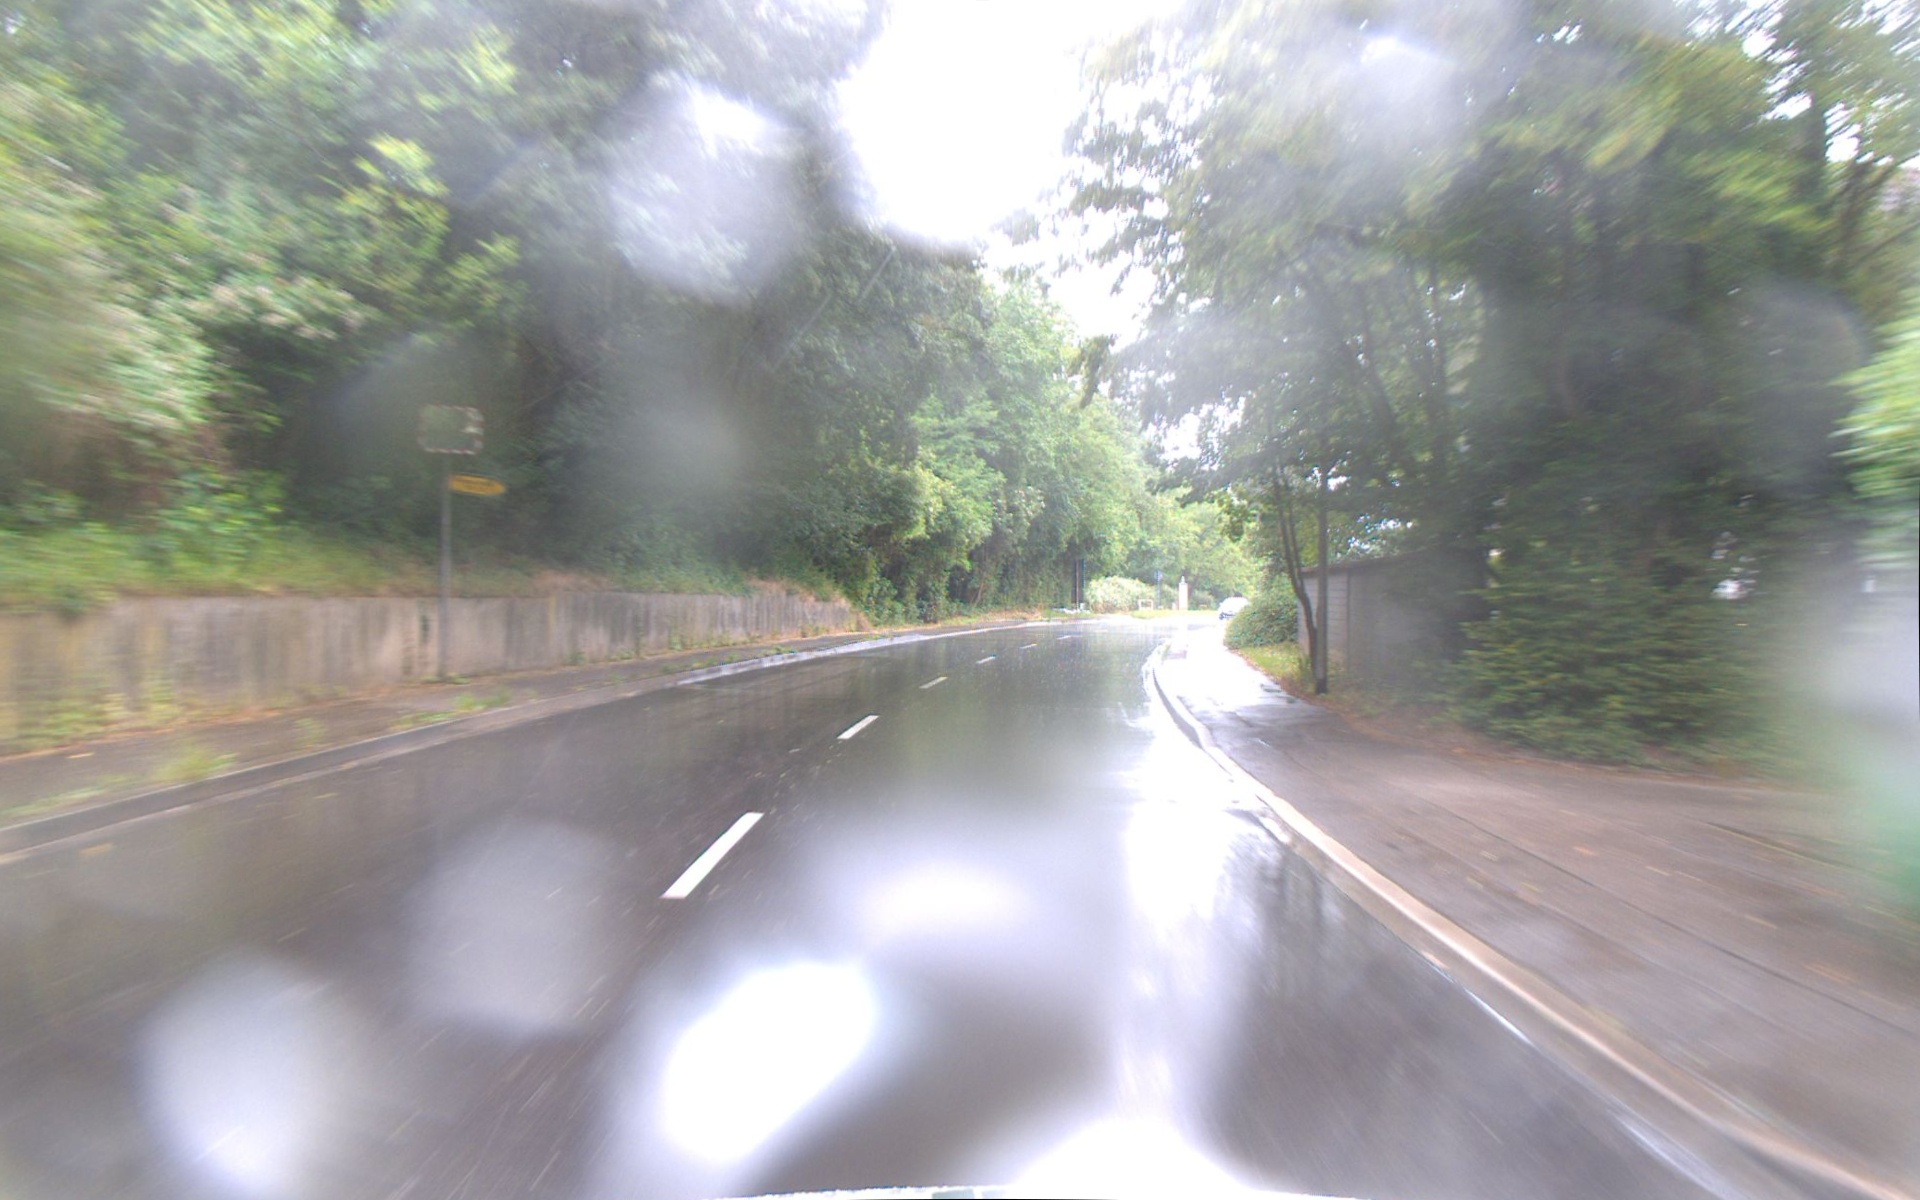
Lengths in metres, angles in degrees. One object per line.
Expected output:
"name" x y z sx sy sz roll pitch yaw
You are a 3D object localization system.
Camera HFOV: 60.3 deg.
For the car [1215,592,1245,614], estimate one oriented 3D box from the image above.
"car" 18.278 0.196 111.833 1.748 1.443 4.638 0 0 12
